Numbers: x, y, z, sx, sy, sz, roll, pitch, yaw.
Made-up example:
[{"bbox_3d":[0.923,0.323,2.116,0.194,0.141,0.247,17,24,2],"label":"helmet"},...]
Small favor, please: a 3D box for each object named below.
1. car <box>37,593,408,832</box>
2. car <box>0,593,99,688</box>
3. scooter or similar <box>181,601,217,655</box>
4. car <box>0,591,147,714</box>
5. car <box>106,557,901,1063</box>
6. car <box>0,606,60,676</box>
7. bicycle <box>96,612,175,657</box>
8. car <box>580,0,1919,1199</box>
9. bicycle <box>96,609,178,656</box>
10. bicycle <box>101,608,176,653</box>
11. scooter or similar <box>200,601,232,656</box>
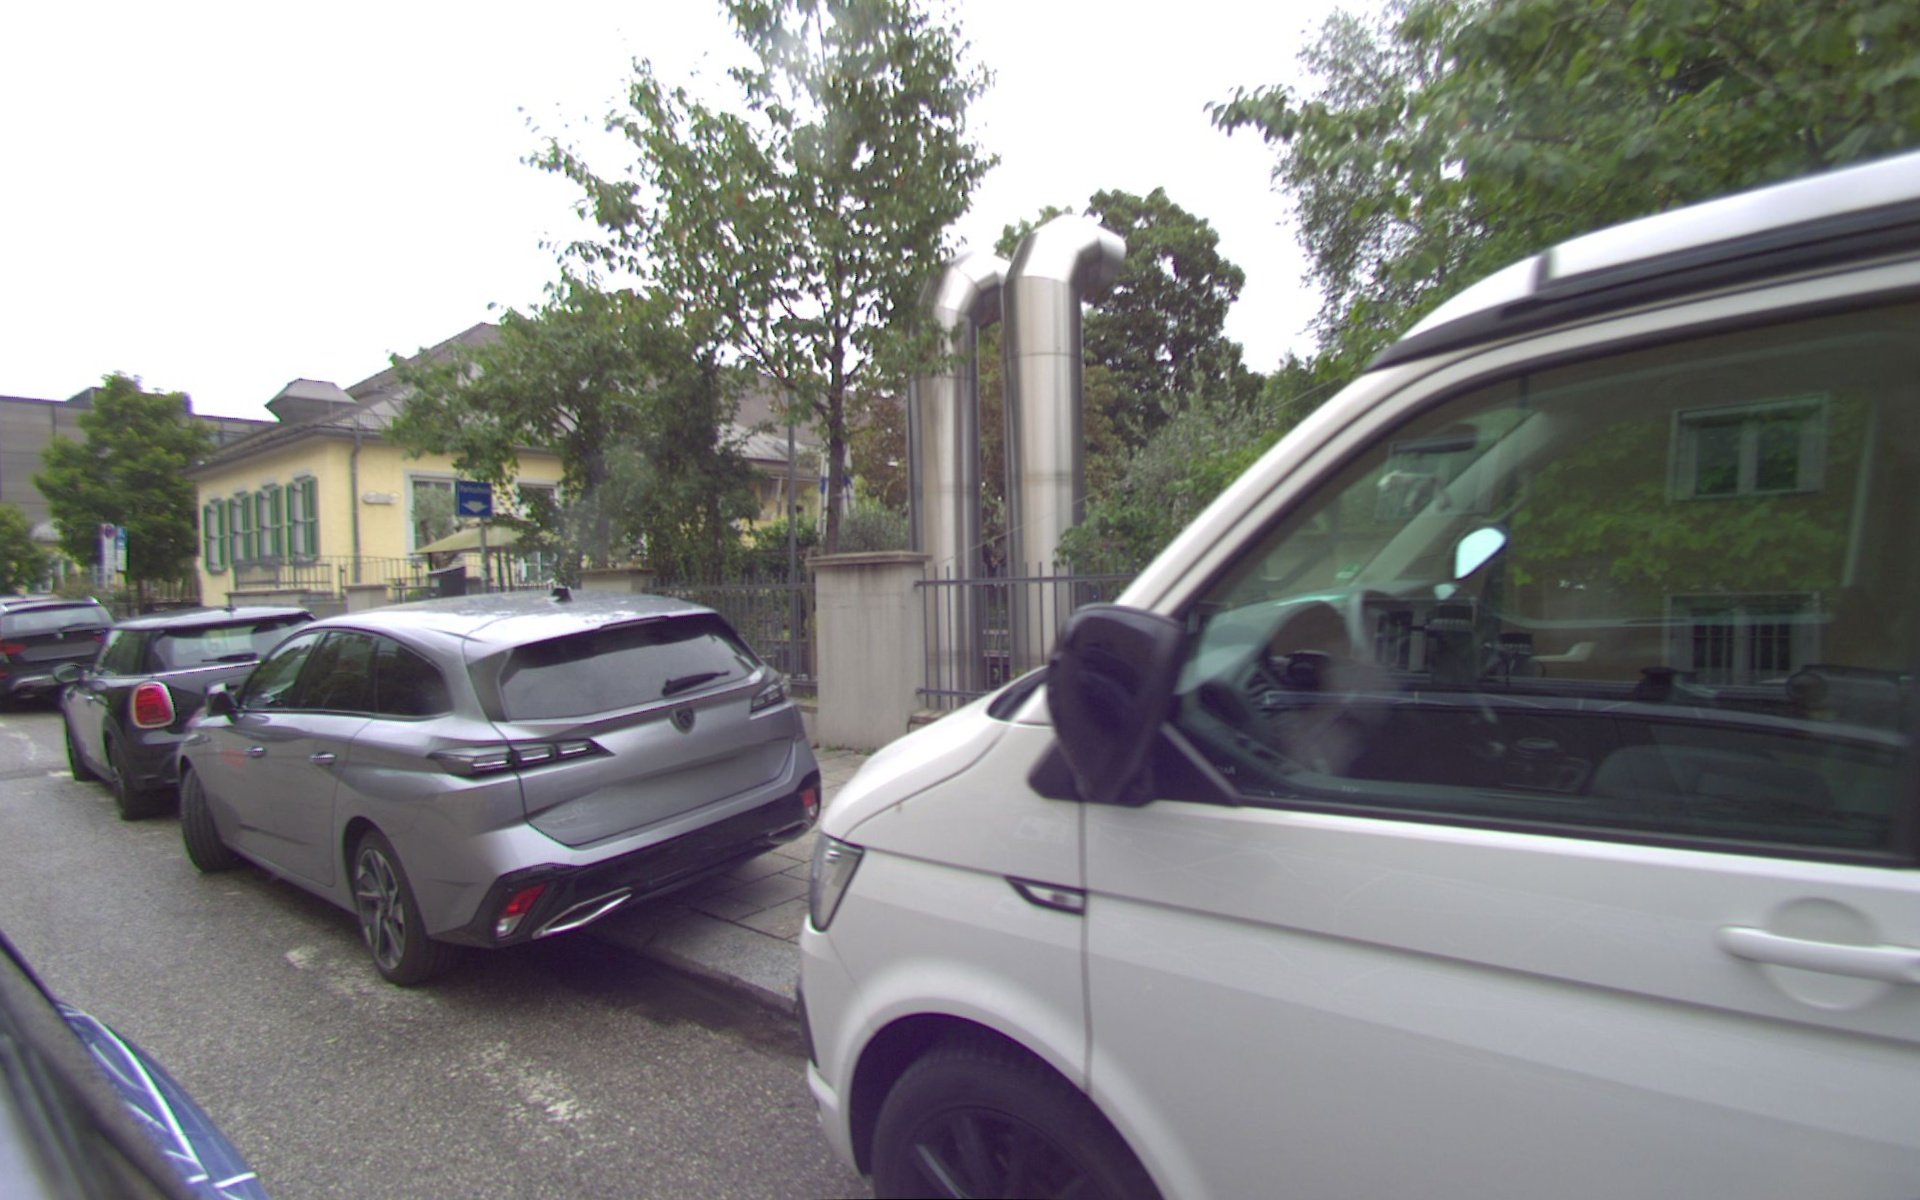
[{"bbox_3d":[-6.482,0.754,8.706,4.188,1.556,1.838,-1,-1,43],"label":"car"},{"bbox_3d":[-19.429,0.795,20.912,4.808,1.704,1.882,-1,2,43],"label":"car"},{"bbox_3d":[-19.705,0.706,26.222,0.370,1.353,1.357,-2,1,-22],"label":"scooter or similar"},{"bbox_3d":[-14.504,0.744,16.046,4.743,1.619,1.825,-1,2,44],"label":"car"},{"bbox_3d":[-2.689,0.656,5.315,4.690,1.555,1.869,-1,1,39],"label":"car"},{"bbox_3d":[-23.506,0.994,24.436,4.650,1.530,1.878,-1,2,39],"label":"car"},{"bbox_3d":[-22.565,0.922,27.715,0.387,1.145,1.612,-1,1,40],"label":"bicycle"},{"bbox_3d":[1.787,0.333,1.369,5.147,2.005,1.947,-1,2,40],"label":"car"},{"bbox_3d":[-22.780,0.886,28.043,0.352,1.180,1.684,-1,1,40],"label":"bicycle"},{"bbox_3d":[-23.214,0.853,28.619,1.609,1.182,0.467,-3,1,-41],"label":"bicycle"},{"bbox_3d":[-18.687,0.697,25.440,0.358,1.324,1.257,-2,1,-24],"label":"scooter or similar"}]
